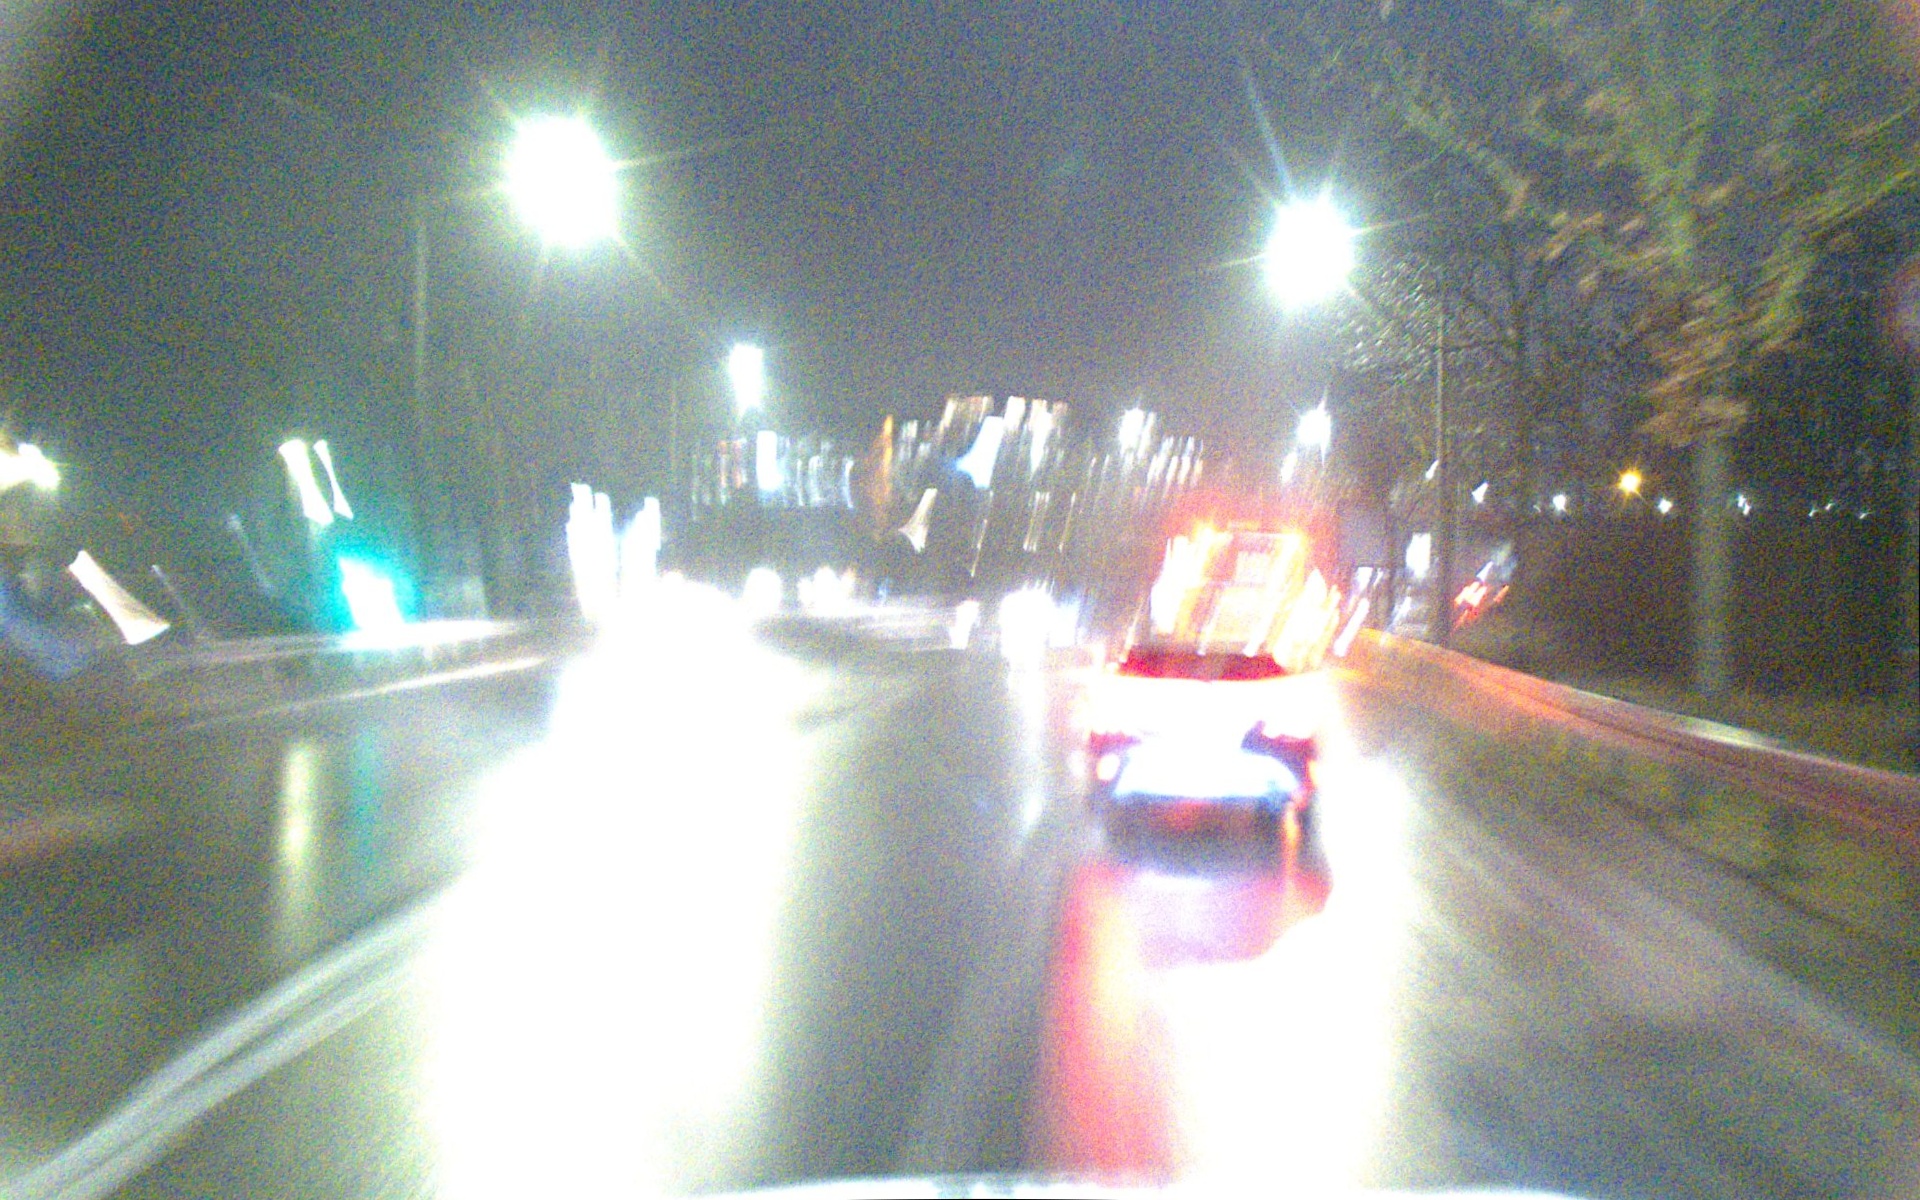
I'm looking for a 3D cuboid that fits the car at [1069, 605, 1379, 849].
[{"bbox_3d":[1.871,0.843,12.635,1.951,1.551,4.002,-1,-1,5],"label":"car"}]

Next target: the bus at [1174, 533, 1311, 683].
[{"bbox_3d":[7.020,0.238,40.912,2.978,3.269,9.057,0,-1,10],"label":"bus"}]

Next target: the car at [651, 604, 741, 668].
[{"bbox_3d":[-6.702,0.895,42.351,1.789,1.530,4.186,1,-1,-2],"label":"car"}]
